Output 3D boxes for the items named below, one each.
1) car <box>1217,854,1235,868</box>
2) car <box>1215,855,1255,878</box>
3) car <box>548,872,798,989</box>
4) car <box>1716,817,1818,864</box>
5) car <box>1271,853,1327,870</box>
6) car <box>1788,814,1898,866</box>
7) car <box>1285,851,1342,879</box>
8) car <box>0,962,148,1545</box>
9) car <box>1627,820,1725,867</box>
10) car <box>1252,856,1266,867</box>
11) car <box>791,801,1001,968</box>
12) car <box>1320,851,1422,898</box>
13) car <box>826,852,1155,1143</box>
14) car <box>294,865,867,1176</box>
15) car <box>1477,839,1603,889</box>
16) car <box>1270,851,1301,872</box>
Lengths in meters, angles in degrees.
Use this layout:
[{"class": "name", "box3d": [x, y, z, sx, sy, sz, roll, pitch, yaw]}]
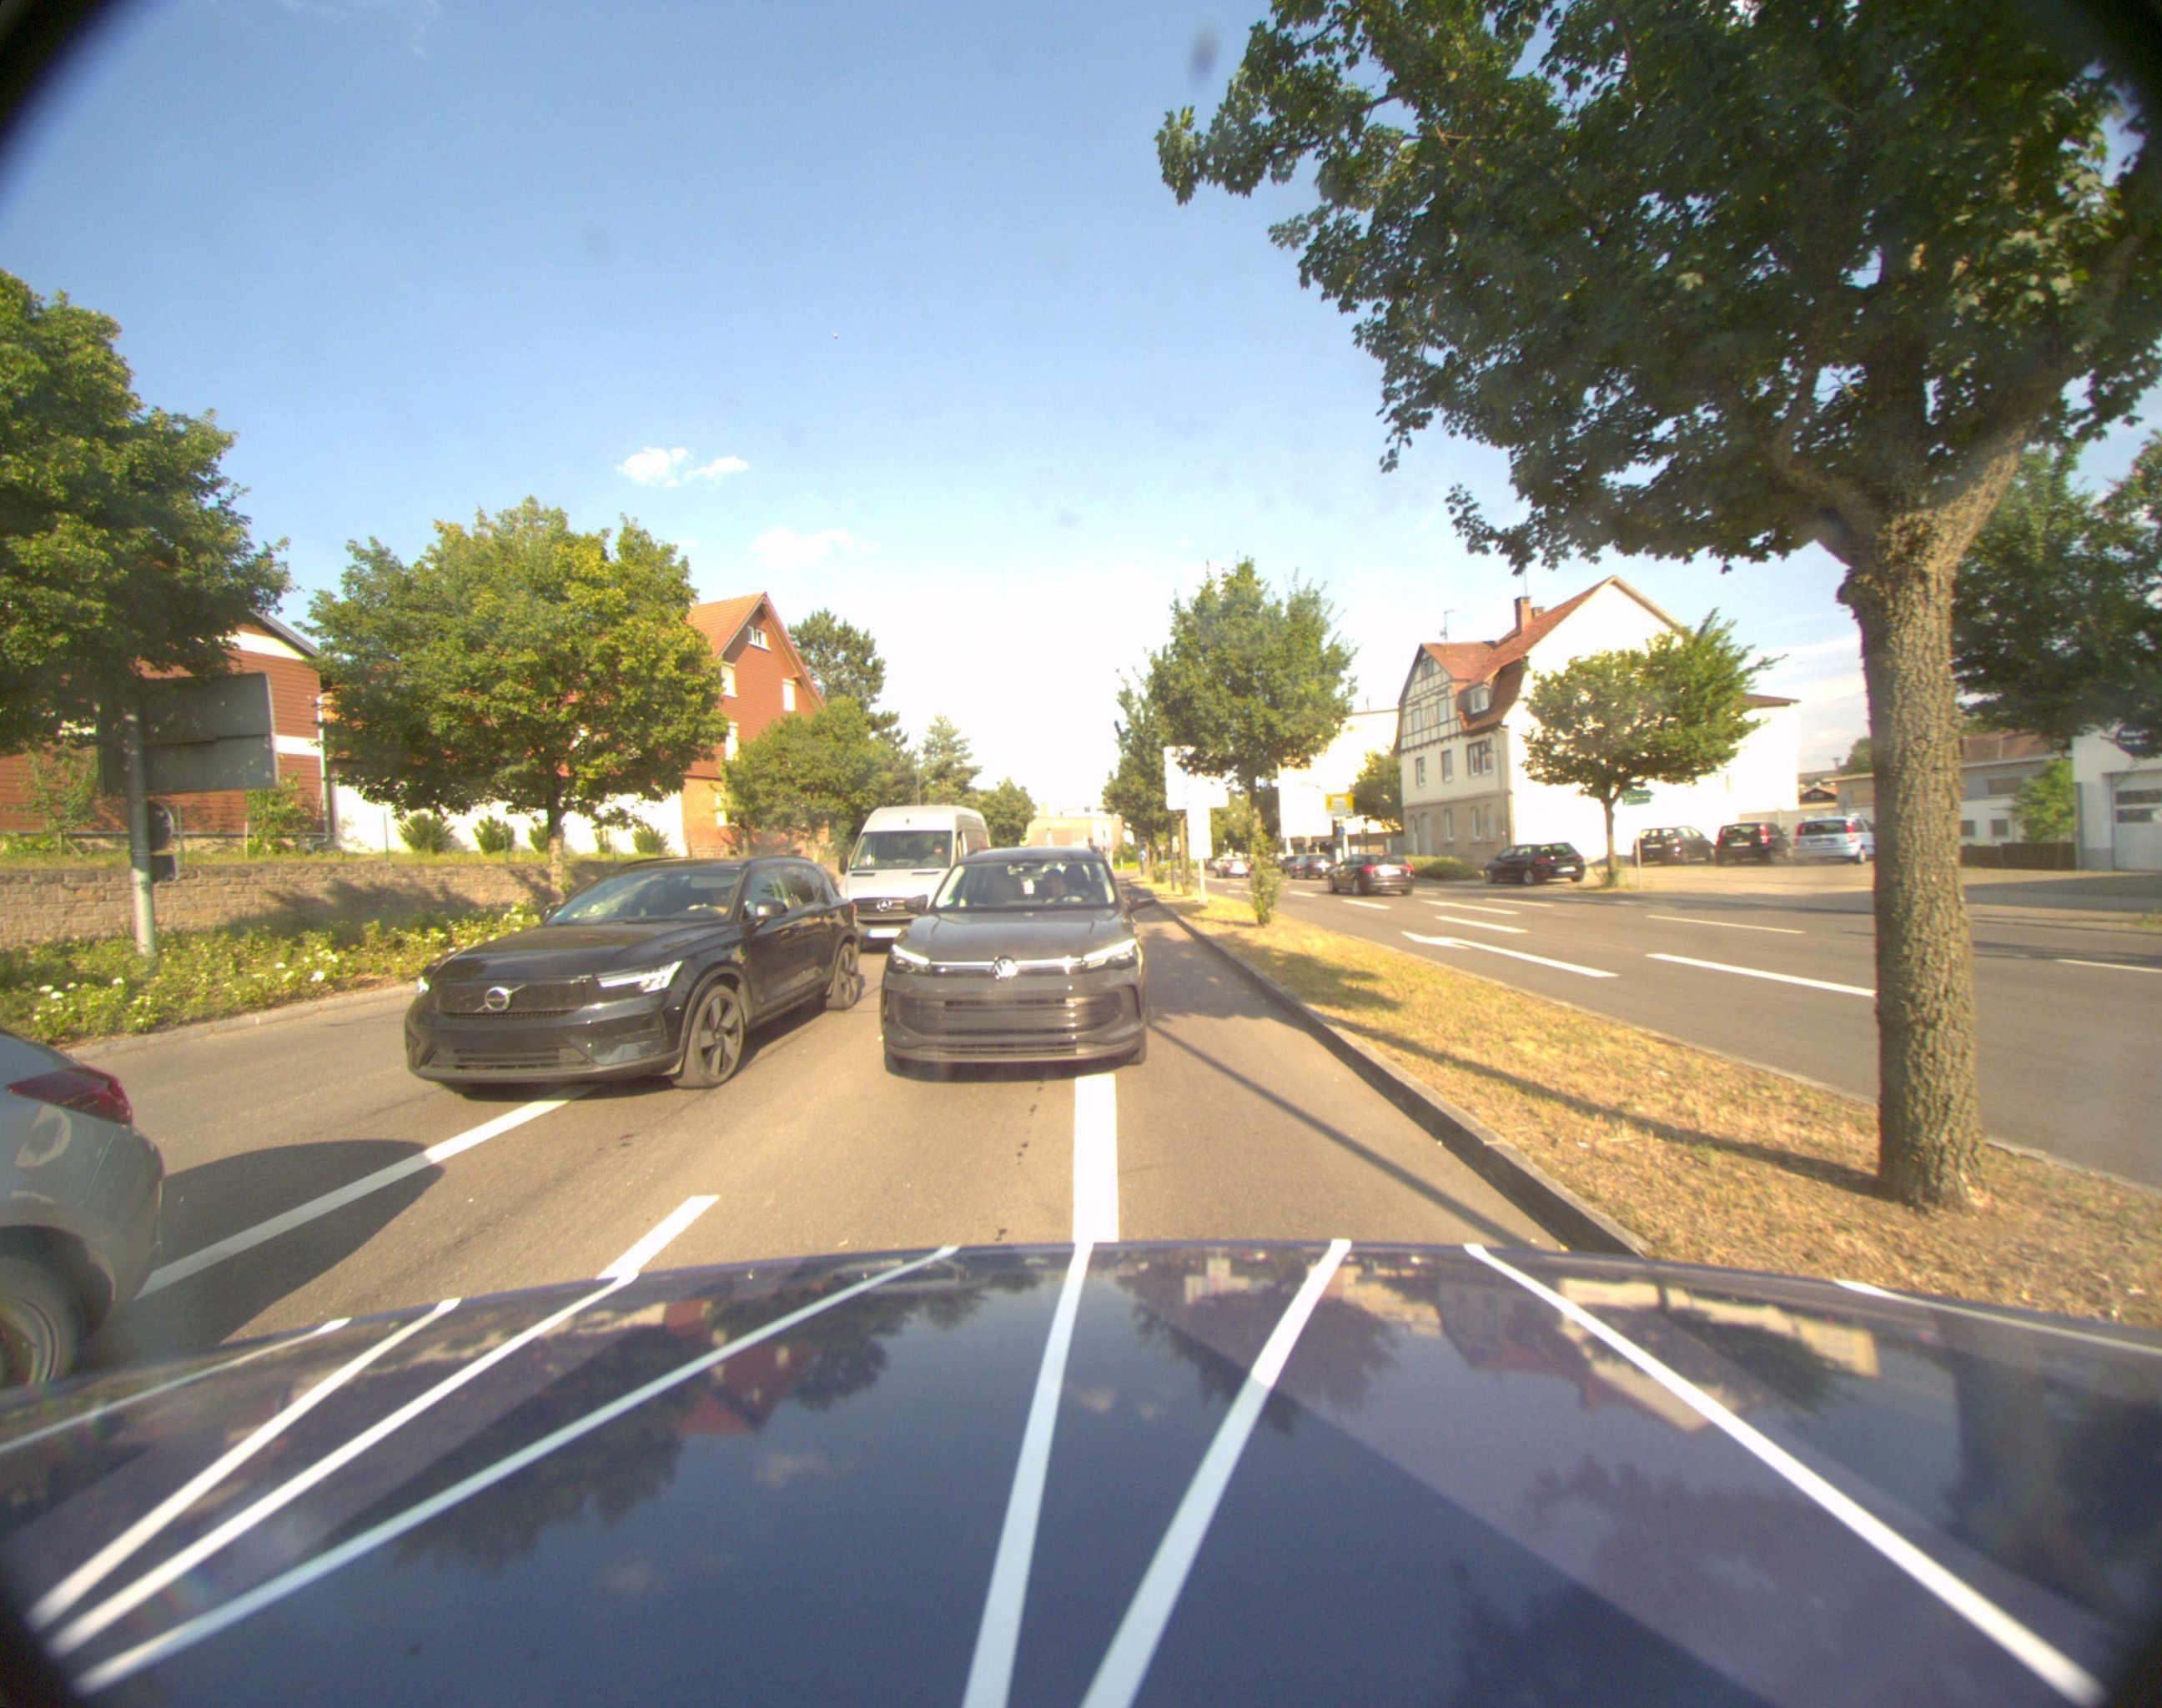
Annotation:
[{"class": "car", "box3d": [16.761, 0.792, 87.642, 1.804, 1.488, 3.959, -2, 0, 14]}, {"class": "car", "box3d": [10.398, 0.815, 51.601, 1.785, 1.341, 4.478, -2, 0, 0]}, {"class": "car", "box3d": [-6.363, 1.100, 12.469, 1.733, 1.442, 4.069, -2, 0, 2]}, {"class": "car", "box3d": [24.899, -0.485, 27.549, 4.006, 1.543, 1.763, -2, 1, -33]}, {"class": "car", "box3d": [19.964, 0.676, 69.700, 4.660, 1.346, 1.768, -2, 1, 9]}, {"class": "car", "box3d": [24.973, -0.484, 24.875, 4.006, 1.543, 1.763, -2, 1, -33]}, {"class": "car", "box3d": [13.025, 0.588, 42.855, 1.848, 1.413, 4.644, -2, 0, 1]}, {"class": "car", "box3d": [-3.634, 1.070, 0.125, 1.748, 1.433, 4.166, -2, 0, 0]}, {"class": "car", "box3d": [23.368, -0.405, 29.800, 4.006, 1.543, 1.764, -4, 1, -33]}, {"class": "car", "box3d": [26.824, 1.105, 114.374, 1.809, 1.488, 4.250, -2, 0, 16]}, {"class": "car", "box3d": [-3.207, 0.464, 14.939, 2.370, 2.532, 6.192, -2, 0, 2]}, {"class": "car", "box3d": [9.425, 0.610, 25.047, 1.649, 1.378, 4.189, -2, 0, -1]}, {"class": "car", "box3d": [-0.476, 0.851, 6.859, 1.894, 1.647, 4.730, -2, 0, 1]}, {"class": "car", "box3d": [-3.386, 0.969, 6.313, 1.886, 1.599, 4.128, -2, 0, 2]}, {"class": "car", "box3d": [16.002, 0.311, 26.786, 1.839, 1.435, 4.195, -5, 0, 1]}, {"class": "car", "box3d": [15.527, 0.512, 57.867, 1.689, 1.454, 4.714, -2, 0, 8]}]
